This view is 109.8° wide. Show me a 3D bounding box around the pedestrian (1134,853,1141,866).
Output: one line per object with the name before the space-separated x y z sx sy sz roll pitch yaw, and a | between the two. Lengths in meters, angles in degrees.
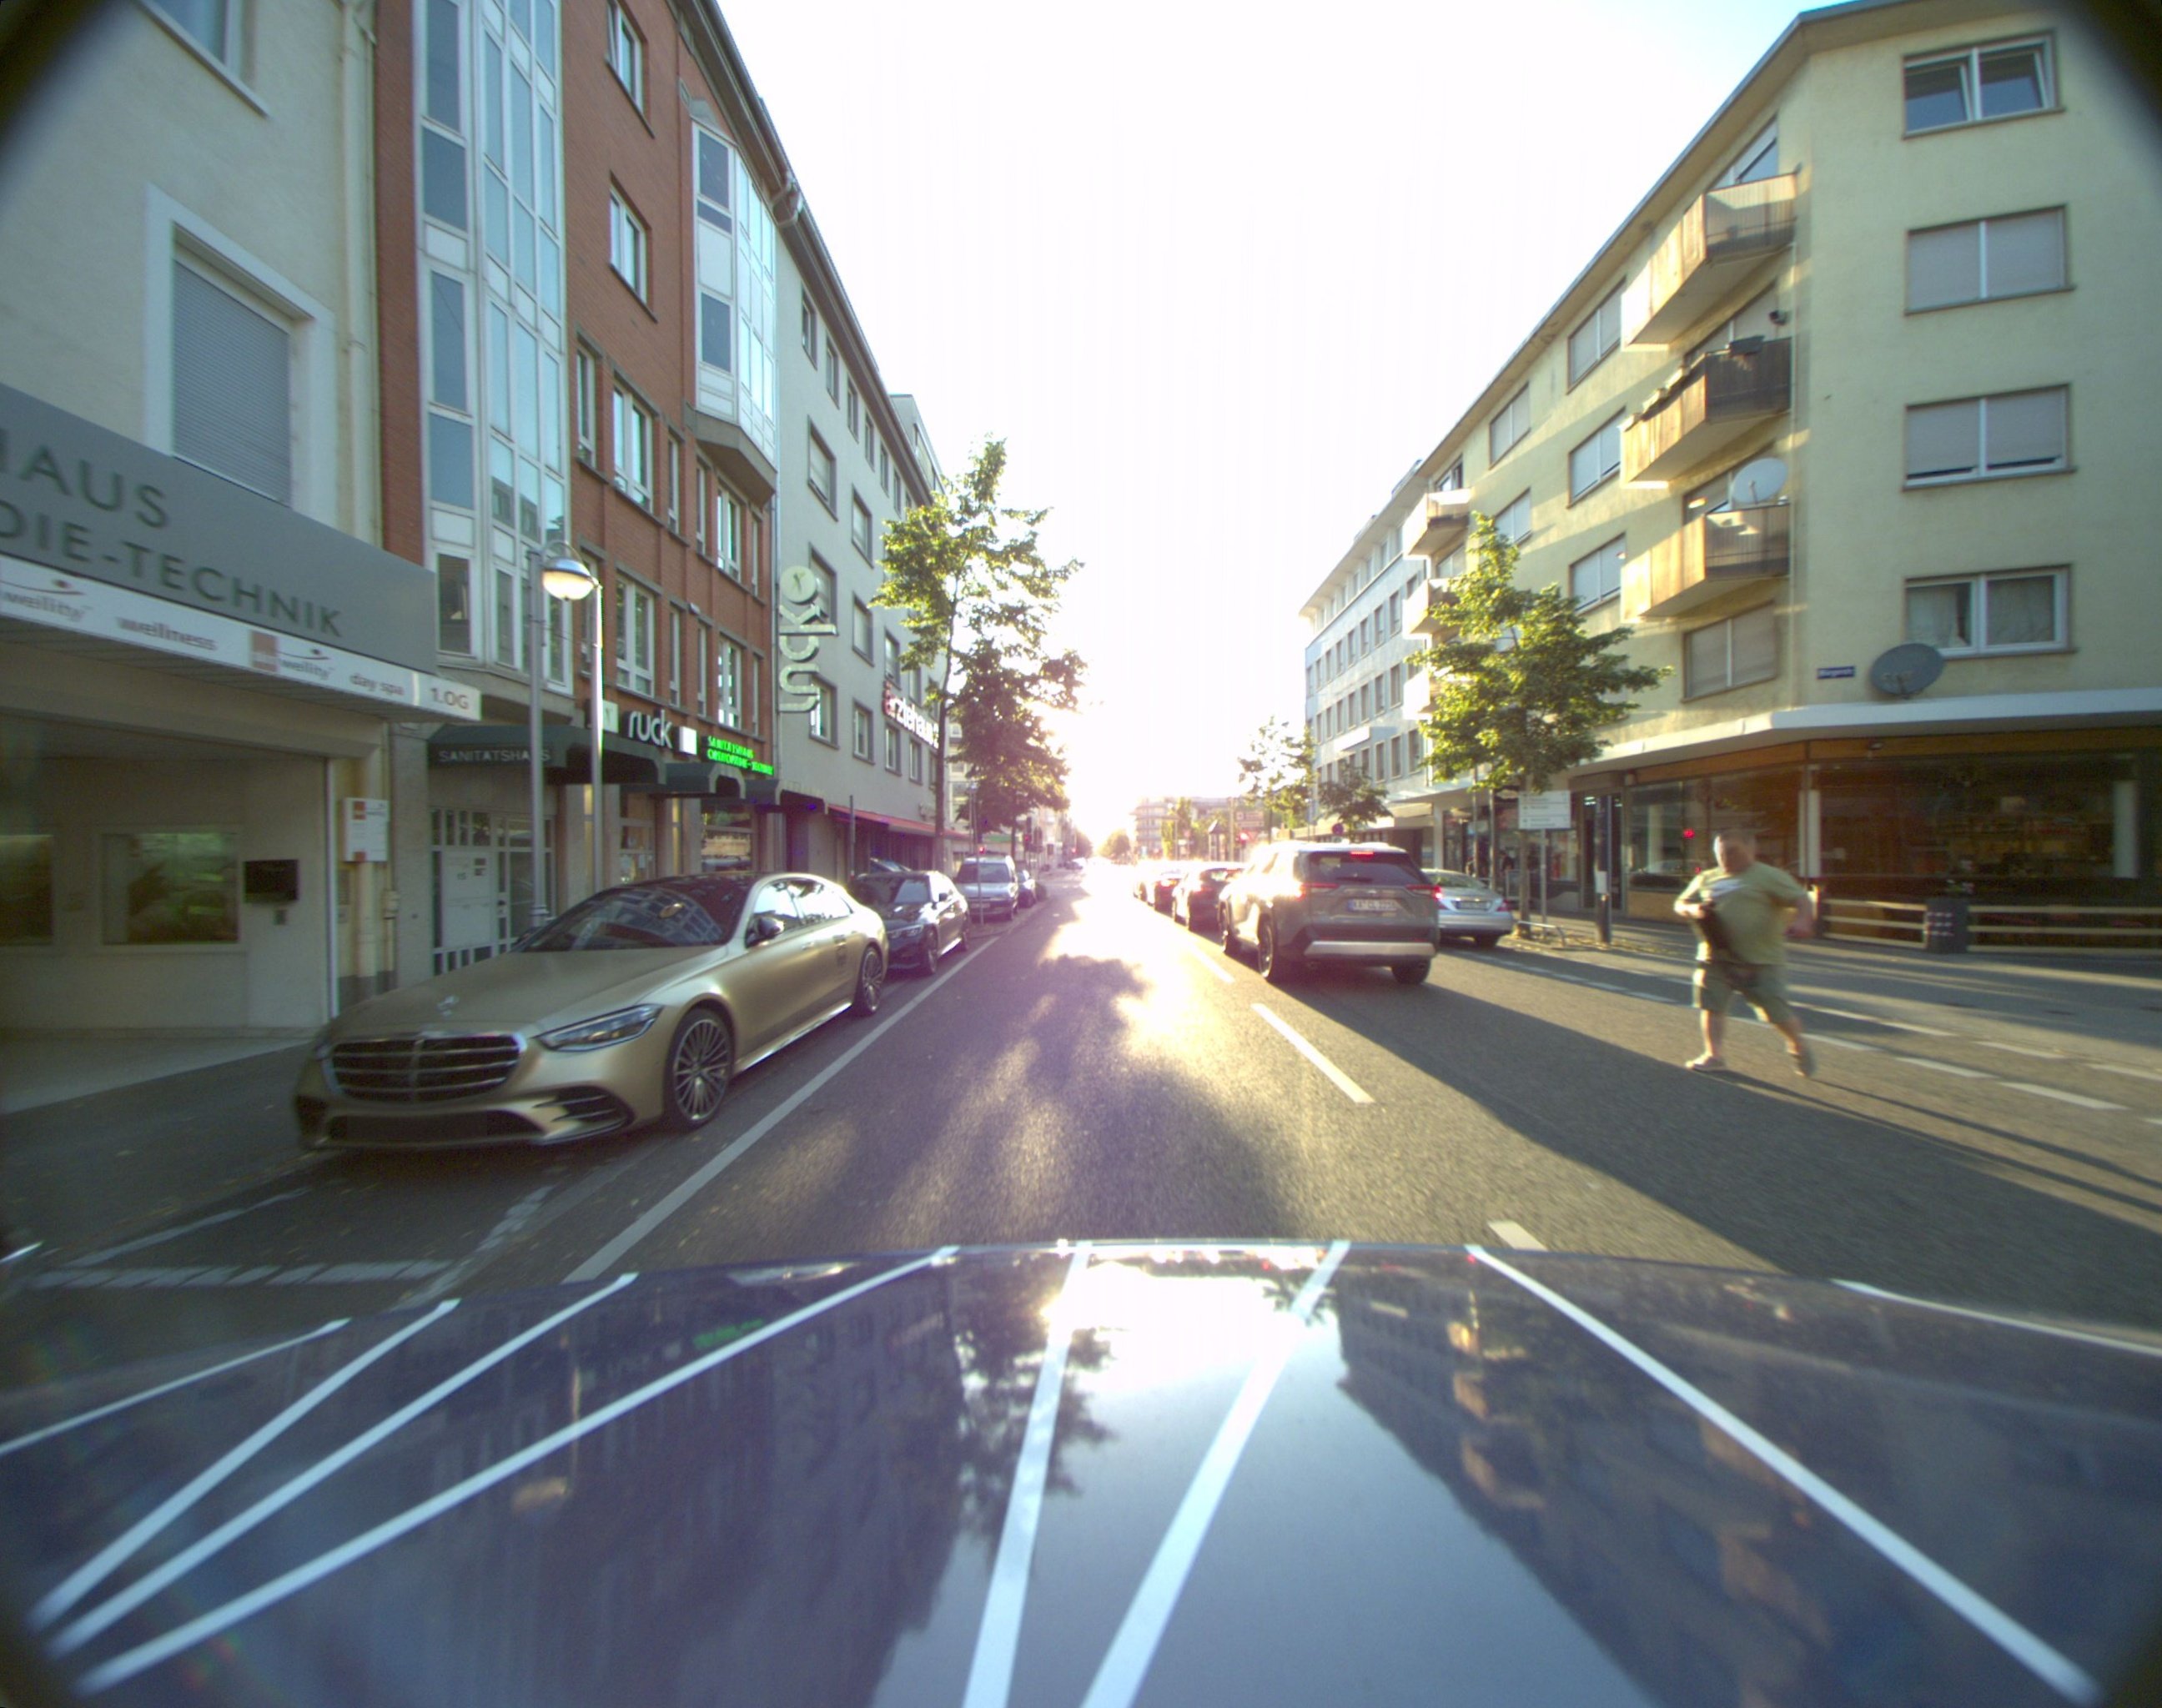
pedestrian | 7.755 0.766 104.092 0.905 1.666 0.780 -2 1 13

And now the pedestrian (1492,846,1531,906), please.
pedestrian | 13.095 0.664 23.118 0.742 1.808 0.814 0 0 3

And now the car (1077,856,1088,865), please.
car | 0.348 1.204 147.416 1.998 1.638 4.509 -2 1 2

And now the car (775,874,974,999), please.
car | -2.900 1.088 11.744 1.757 1.412 4.510 -2 0 1

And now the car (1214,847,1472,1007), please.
car | 3.122 0.738 10.240 1.945 1.635 4.738 0 1 1

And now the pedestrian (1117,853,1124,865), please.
pedestrian | 5.786 0.698 111.436 0.842 1.736 0.701 -2 1 0

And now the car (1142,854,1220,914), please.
car | 3.046 0.854 24.001 1.951 1.635 4.615 0 1 1

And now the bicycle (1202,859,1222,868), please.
bicycle | 15.139 1.122 87.905 2.180 1.081 0.779 0 1 1

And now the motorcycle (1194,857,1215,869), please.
motorcycle | 14.790 1.031 91.153 2.450 1.358 0.780 -2 0 6

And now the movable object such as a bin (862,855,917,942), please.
movable object such as a bin | -4.134 0.925 16.478 0.837 1.763 1.353 -2 1 -3

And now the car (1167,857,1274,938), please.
car | 3.011 0.865 17.290 1.728 1.540 4.465 0 1 1

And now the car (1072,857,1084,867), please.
car | -0.535 1.422 129.718 1.999 1.538 4.508 -2 1 -1

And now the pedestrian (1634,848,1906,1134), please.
pedestrian | 4.554 0.823 5.079 0.908 1.666 0.991 3 0 -23

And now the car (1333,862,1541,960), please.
car | 6.733 0.980 15.033 1.998 1.503 4.509 2 1 1

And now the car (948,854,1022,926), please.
car | -2.595 0.943 21.335 1.659 1.768 4.011 -2 0 -2

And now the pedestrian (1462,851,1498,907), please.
pedestrian | 12.235 0.761 23.293 0.768 1.666 0.744 -1 1 43

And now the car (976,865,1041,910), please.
car | -2.532 1.149 27.342 1.942 1.368 4.182 -2 0 -1

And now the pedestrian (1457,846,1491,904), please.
pedestrian | 12.649 0.679 24.472 0.769 1.836 0.744 -1 -1 11

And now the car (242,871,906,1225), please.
car | -3.050 1.011 6.187 1.816 1.518 4.994 -2 1 3

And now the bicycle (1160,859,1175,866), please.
bicycle | 13.937 1.390 122.799 2.398 0.953 0.673 -2 1 8

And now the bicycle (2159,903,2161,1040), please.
bicycle | 10.627 1.101 5.578 0.961 1.293 3.126 -2 1 -1

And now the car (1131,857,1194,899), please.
car | 3.176 0.932 30.479 1.963 1.538 4.509 -1 -1 -1

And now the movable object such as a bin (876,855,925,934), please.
movable object such as a bin | -4.200 0.914 17.778 0.837 1.763 1.205 -2 1 -3
